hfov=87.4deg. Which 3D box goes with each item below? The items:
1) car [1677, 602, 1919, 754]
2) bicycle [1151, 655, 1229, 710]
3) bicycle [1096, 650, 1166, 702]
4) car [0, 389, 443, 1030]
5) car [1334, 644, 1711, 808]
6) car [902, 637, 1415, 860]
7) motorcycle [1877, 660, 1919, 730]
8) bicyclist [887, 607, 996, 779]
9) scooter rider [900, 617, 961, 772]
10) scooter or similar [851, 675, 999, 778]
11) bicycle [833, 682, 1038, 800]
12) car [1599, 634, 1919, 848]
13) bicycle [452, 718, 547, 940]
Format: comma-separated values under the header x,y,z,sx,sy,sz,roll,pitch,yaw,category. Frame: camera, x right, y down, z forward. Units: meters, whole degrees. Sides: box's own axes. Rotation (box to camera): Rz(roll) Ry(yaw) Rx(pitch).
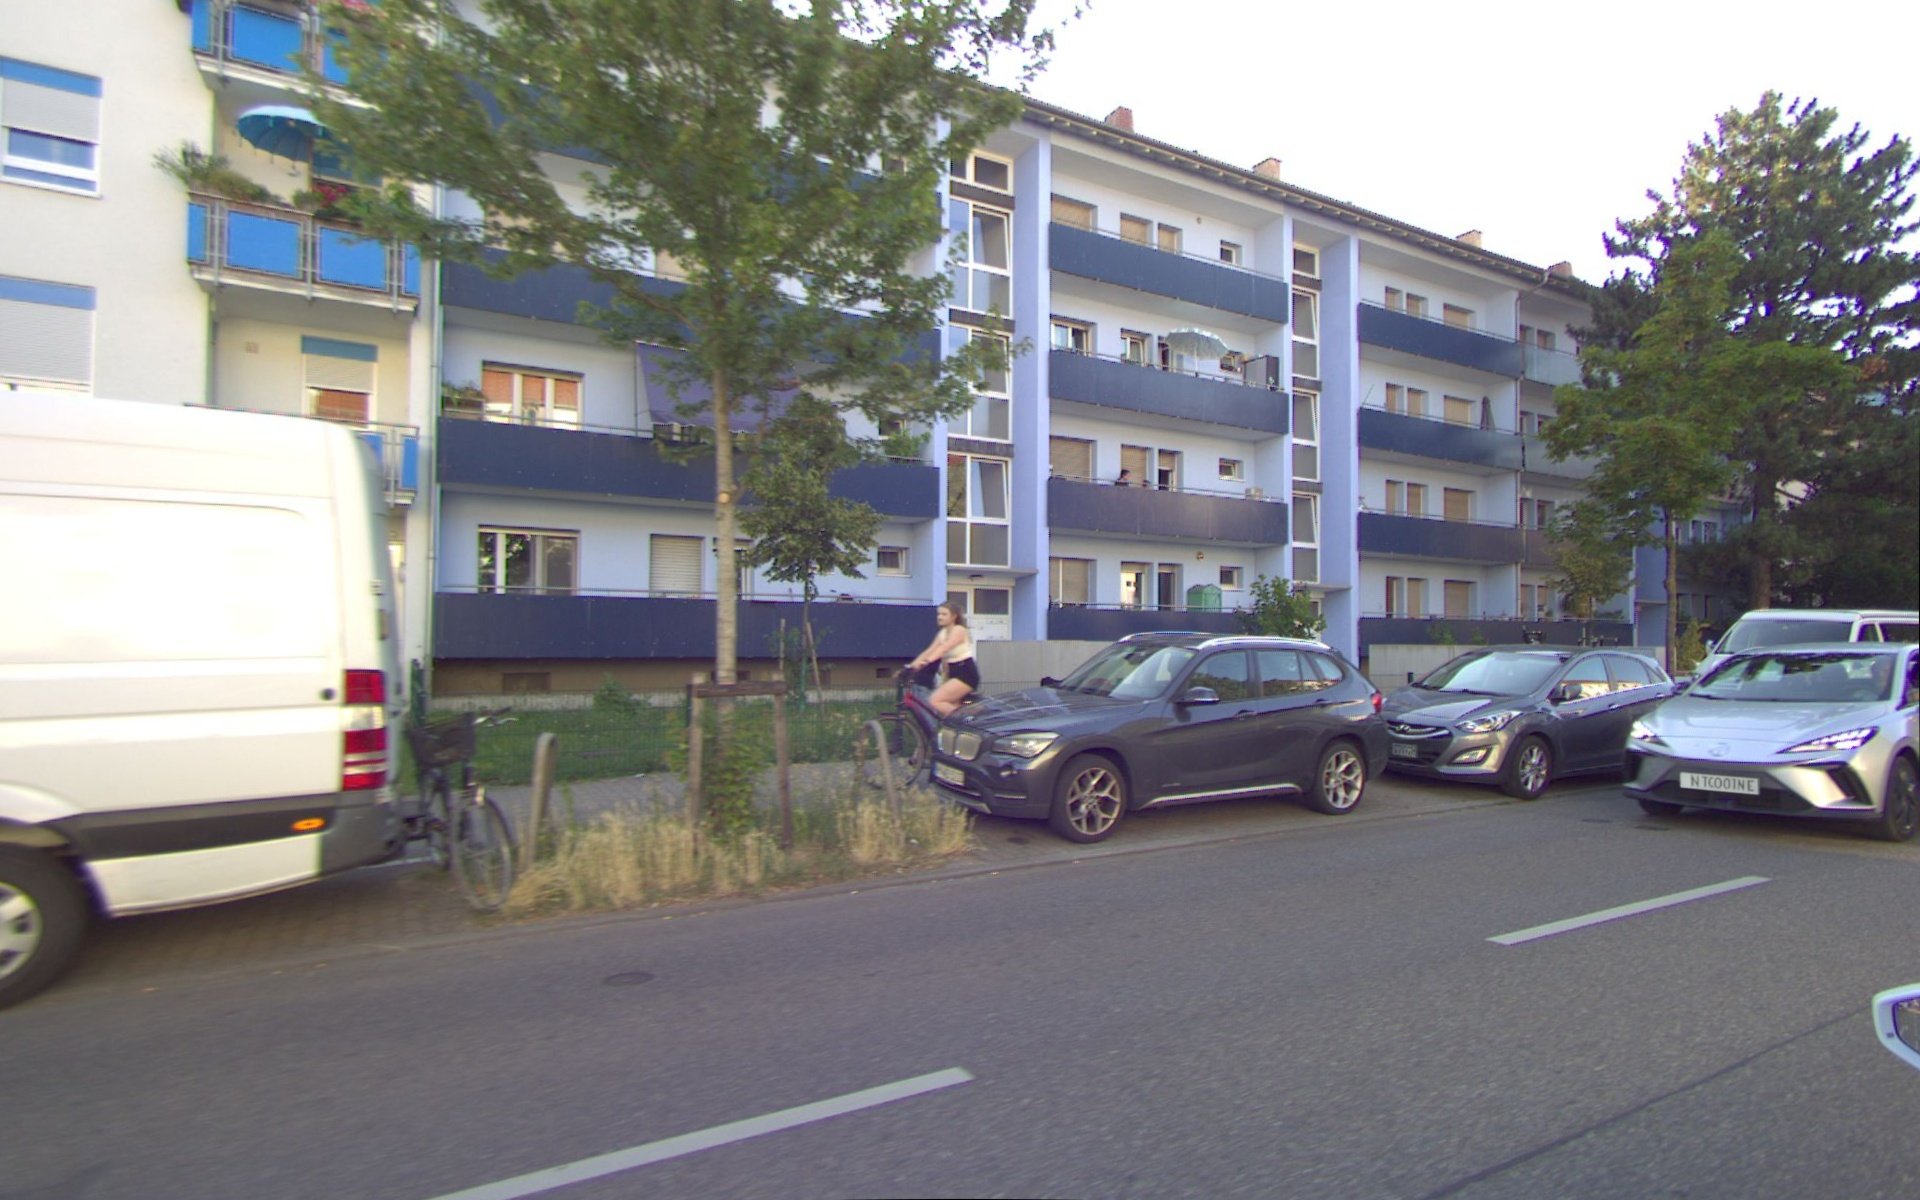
x,y,z,sx,sy,sz,roll,pitch,yaw,category
13.574,1.129,15.750,5.239,2.058,1.860,1,-1,-31,car
4.452,1.574,19.403,1.554,1.028,0.436,1,-3,-29,bicycle
3.524,1.543,20.672,1.463,1.028,0.436,1,-3,-29,bicycle
-6.094,0.423,4.065,7.021,2.651,1.984,1,-1,-30,car
6.240,1.247,11.076,4.091,1.503,1.686,1,-2,-28,car
1.833,1.115,8.876,4.417,1.563,1.665,1,-2,-28,car
17.942,1.693,18.179,2.289,1.219,0.660,0,-2,-9,motorcycle
-0.191,0.888,9.891,0.926,1.614,0.602,1,-2,-22,bicyclist
-0.323,1.018,11.013,0.527,1.652,0.462,1,-2,-26,scooter rider
-0.373,1.352,10.954,1.568,1.028,0.462,1,-2,-26,scooter or similar
-0.233,1.344,9.859,1.924,1.028,0.619,1,-2,-23,bicycle
7.698,1.111,8.922,3.925,1.513,1.773,1,-5,-31,car
-2.763,1.307,6.111,0.433,1.028,1.469,1,-1,-22,bicycle
